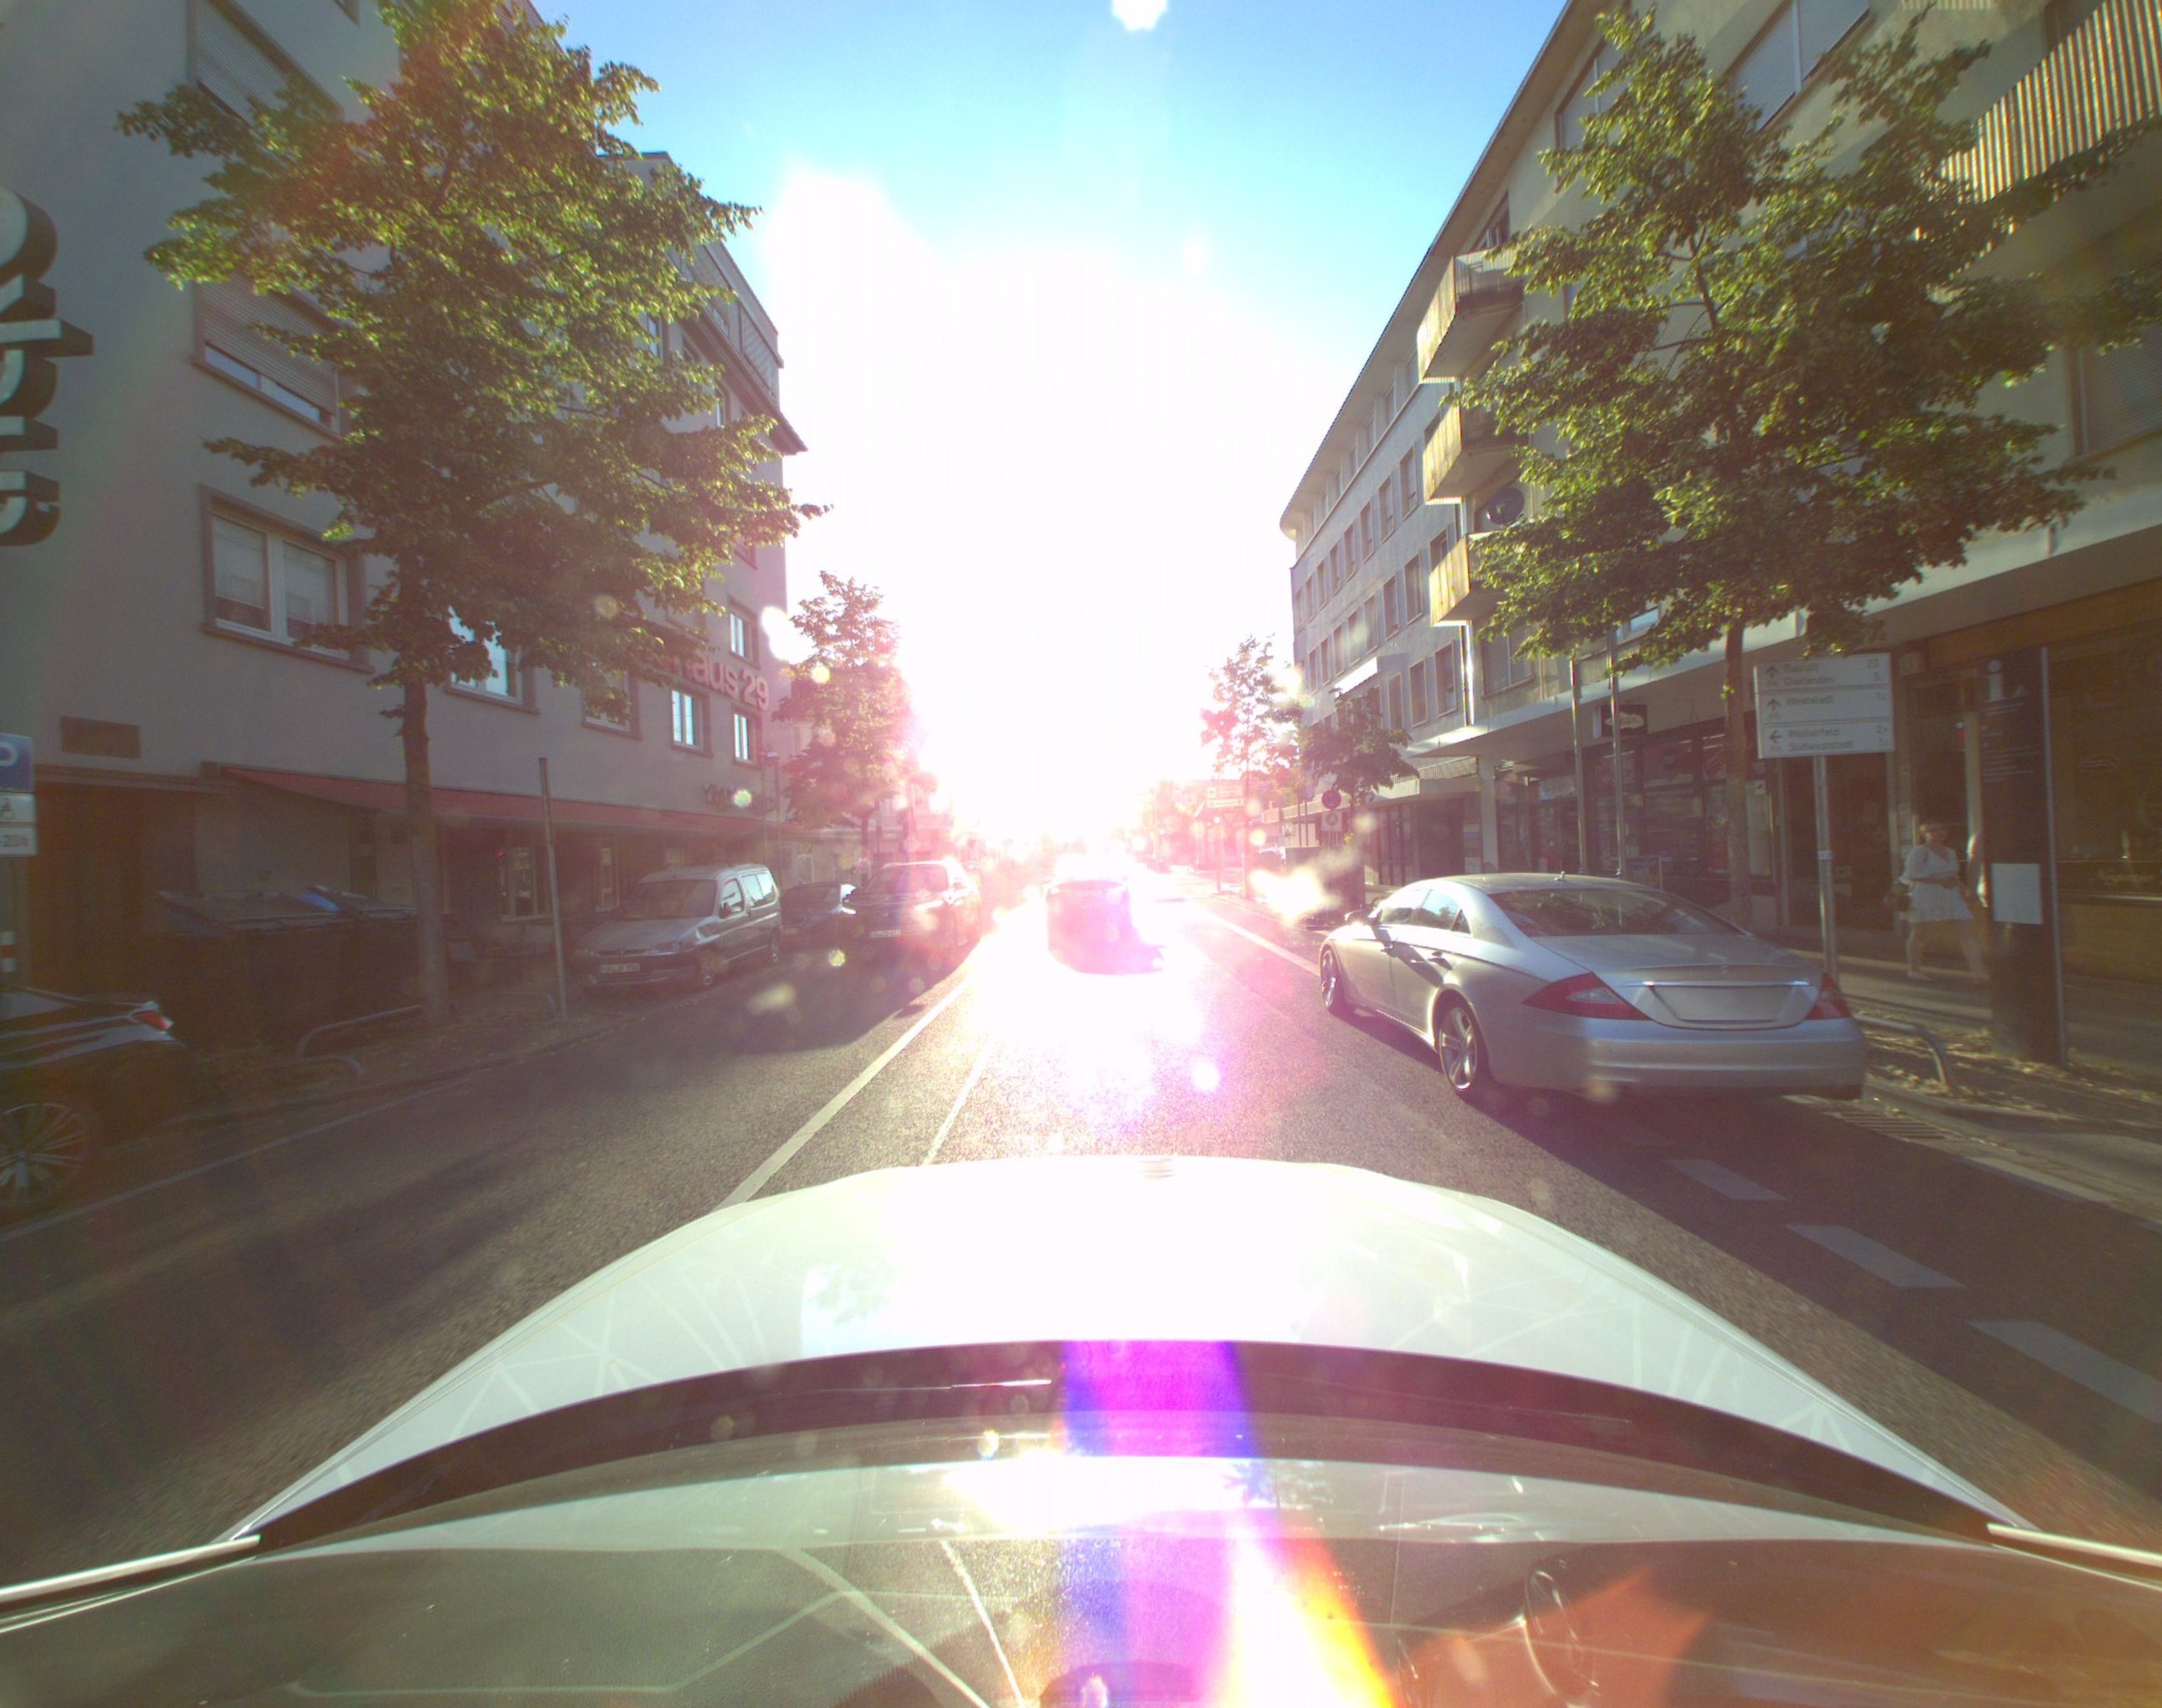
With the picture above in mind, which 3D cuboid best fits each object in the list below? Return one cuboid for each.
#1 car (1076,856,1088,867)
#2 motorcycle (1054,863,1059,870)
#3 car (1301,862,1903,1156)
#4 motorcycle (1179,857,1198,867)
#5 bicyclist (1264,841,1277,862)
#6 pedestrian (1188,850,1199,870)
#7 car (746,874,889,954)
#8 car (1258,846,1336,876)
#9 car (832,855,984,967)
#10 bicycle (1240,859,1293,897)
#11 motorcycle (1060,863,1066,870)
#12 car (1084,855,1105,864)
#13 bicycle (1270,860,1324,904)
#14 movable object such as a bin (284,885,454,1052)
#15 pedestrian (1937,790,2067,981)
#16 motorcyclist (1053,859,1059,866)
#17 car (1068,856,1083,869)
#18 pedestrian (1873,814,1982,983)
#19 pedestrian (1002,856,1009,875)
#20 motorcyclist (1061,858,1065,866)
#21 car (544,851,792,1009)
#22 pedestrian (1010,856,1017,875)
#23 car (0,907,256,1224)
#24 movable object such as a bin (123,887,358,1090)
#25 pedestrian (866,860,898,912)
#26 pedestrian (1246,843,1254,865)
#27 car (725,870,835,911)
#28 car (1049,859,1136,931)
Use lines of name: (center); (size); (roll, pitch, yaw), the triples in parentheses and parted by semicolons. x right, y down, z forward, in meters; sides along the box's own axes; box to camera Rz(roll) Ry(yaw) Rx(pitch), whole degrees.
car: (0.158, 1.188, 126.669); (1.811, 1.519, 4.001); (-3, 0, 1)
motorcycle: (-3.300, 1.632, 108.661); (0.573, 0.915, 2.201); (-1, 0, 2)
car: (3.193, 0.783, 6.326); (1.736, 1.401, 4.639); (0, 0, 0)
motorcycle: (10.407, 0.766, 79.033); (1.669, 0.939, 0.853); (-2, 0, -10)
bicyclist: (14.086, -0.180, 60.513); (0.713, 1.481, 0.555); (-2, -1, 36)
pedestrian: (8.840, 0.456, 64.163); (0.734, 1.529, 0.470); (-1, -1, -15)
car: (-5.823, 1.262, 18.553); (1.717, 1.416, 4.280); (-5, -1, 1)
car: (12.480, 0.407, 47.166); (3.995, 1.532, 1.794); (-2, 0, -16)
car: (-2.989, 0.906, 15.003); (1.724, 1.675, 4.296); (-3, 0, 1)
bicycle: (6.054, 0.784, 26.650); (1.606, 1.171, 0.319); (-2, 0, 2)
motorcycle: (-2.375, 1.615, 107.833); (0.573, 0.915, 2.201); (-1, 0, 2)
car: (2.886, 1.122, 169.846); (4.018, 1.519, 1.803); (-3, 0, -37)
bicycle: (6.167, 0.794, 23.330); (1.435, 1.220, 0.383); (-1, -1, 2)
movable object such as a bin: (-7.585, 1.164, 8.756); (0.779, 1.620, 1.207); (0, 0, -3)
pedestrian: (8.976, 0.298, 7.957); (0.541, 1.758, 0.502); (-5, -1, 0)
motorcyclist: (-3.310, 1.100, 108.578); (0.573, 0.915, 2.201); (-1, 0, 2)
car: (-0.759, 1.113, 108.247); (1.811, 1.519, 4.001); (-3, 0, 1)
pedestrian: (8.393, 0.432, 8.088); (0.518, 1.593, 0.408); (-5, -1, 0)
pedestrian: (-7.646, 1.164, 82.100); (0.641, 1.876, 0.632); (-1, -1, 1)
motorcyclist: (-2.378, 1.083, 107.727); (0.573, 0.995, 0.703); (-1, -1, 1)
car: (-6.001, 0.990, 12.446); (1.664, 1.887, 4.051); (-4, -1, -2)
pedestrian: (-6.816, 1.154, 82.263); (0.674, 1.876, 0.618); (-1, -1, 1)
car: (-6.220, 1.146, 2.922); (1.714, 1.472, 4.543); (-5, 0, 1)
movable object such as a bin: (-7.588, 1.142, 7.449); (0.779, 1.620, 1.336); (-1, 0, -3)
pedestrian: (-7.501, 1.197, 30.692); (1.004, 1.860, 0.636); (-3, 0, -19)
pedestrian: (13.172, 0.009, 63.352); (0.444, 1.735, 0.430); (0, -1, -24)
car: (-13.066, 1.536, 35.342); (4.327, 1.498, 1.984); (-2, 0, -25)
car: (0.246, 0.849, 18.731); (1.731, 1.428, 4.223); (-1, 0, 0)
